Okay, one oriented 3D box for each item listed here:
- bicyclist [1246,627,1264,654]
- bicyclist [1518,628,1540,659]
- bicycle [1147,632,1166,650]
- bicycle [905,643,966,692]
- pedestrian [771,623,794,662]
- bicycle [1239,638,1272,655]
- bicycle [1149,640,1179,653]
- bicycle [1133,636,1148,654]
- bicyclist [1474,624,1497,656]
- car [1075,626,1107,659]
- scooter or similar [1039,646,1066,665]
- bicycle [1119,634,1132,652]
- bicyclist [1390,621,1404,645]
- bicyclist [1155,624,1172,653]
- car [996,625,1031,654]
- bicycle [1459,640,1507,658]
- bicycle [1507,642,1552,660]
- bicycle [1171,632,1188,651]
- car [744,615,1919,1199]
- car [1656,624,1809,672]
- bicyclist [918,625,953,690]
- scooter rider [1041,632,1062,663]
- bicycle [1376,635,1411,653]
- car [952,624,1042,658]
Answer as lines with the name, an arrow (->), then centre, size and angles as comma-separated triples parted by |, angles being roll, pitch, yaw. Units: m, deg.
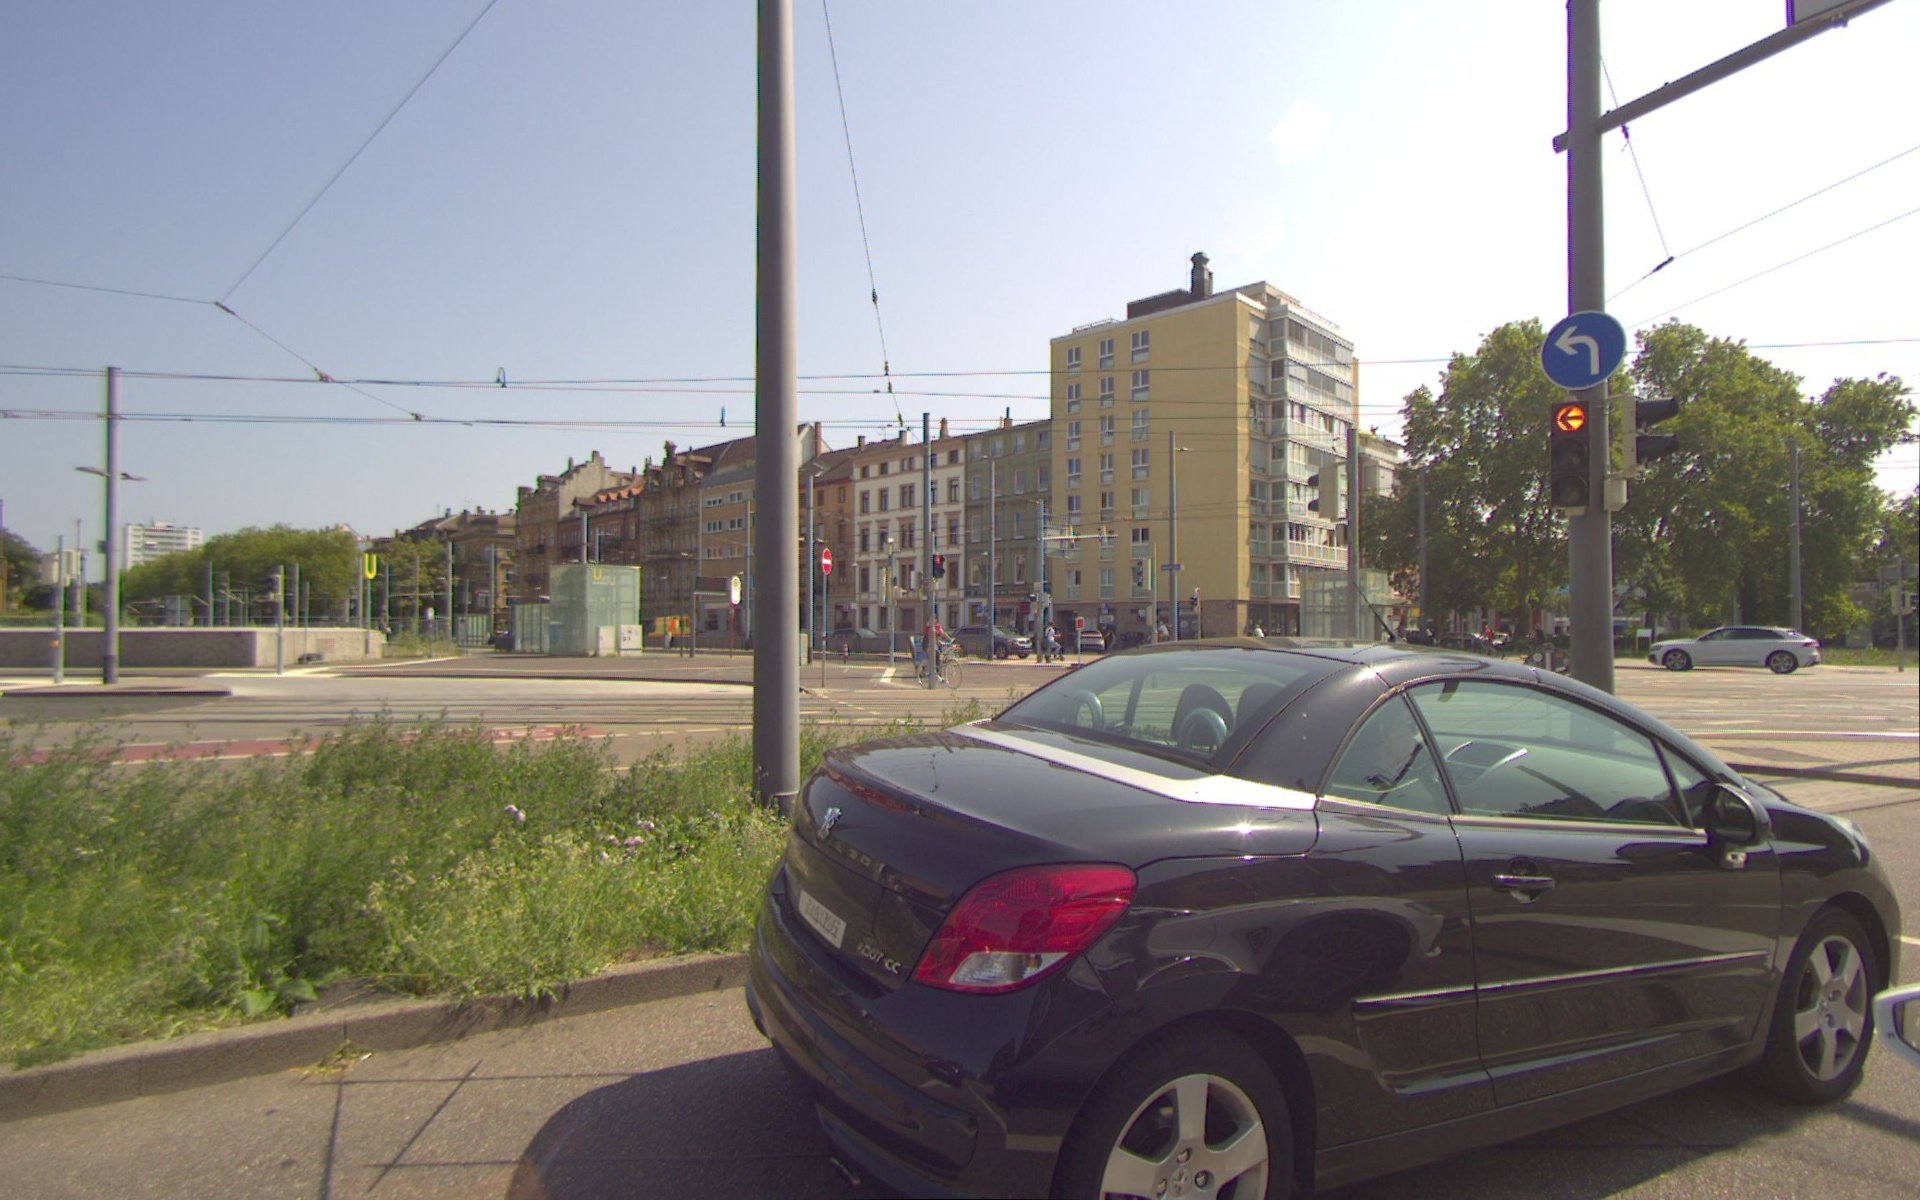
bicyclist -> 17.349, 2.379, 59.042 | 0.897, 1.528, 0.557 | -1, -2, 34
bicyclist -> 27.954, 2.127, 49.356 | 0.861, 1.495, 0.543 | -1, -2, 43
bicycle -> 13.143, 2.730, 67.346 | 0.892, 1.220, 3.265 | 0, -2, 5
bicycle -> -0.604, 1.593, 24.053 | 0.499, 1.108, 1.918 | 1, -2, -35
pedestrian -> -7.297, 1.742, 41.335 | 0.842, 1.563, 0.743 | 0, -2, -4
bicycle -> 17.363, 2.743, 59.016 | 1.789, 0.954, 0.566 | -1, -2, 34
bicycle -> 12.864, 2.937, 63.432 | 0.476, 0.813, 2.030 | 2, -2, -41
bicycle -> 12.238, 3.044, 68.096 | 0.680, 1.220, 3.265 | 0, -2, 5
bicyclist -> 25.563, 1.939, 48.883 | 0.494, 1.502, 0.863 | 2, -2, -42
car -> 8.052, 2.595, 61.544 | 1.767, 1.951, 4.003 | 0, -2, 11
scooter or similar -> 4.053, 2.431, 44.022 | 1.132, 0.835, 0.517 | 1, -2, -35
bicycle -> 11.395, 2.954, 69.236 | 0.680, 1.220, 2.793 | 0, -2, 5
bicyclist -> 24.000, 1.832, 55.150 | 0.555, 1.310, 0.540 | 2, -2, -41
bicyclist -> 12.850, 2.419, 63.401 | 0.494, 1.831, 0.915 | 2, -2, -41
car -> 3.594, 2.637, 66.937 | 1.767, 1.843, 4.003 | 0, -2, 11
bicycle -> 25.494, 2.373, 48.969 | 0.476, 0.813, 2.030 | 2, -2, -41
bicycle -> 27.961, 2.499, 49.339 | 1.836, 0.813, 0.604 | -1, -2, 43
bicycle -> 14.396, 2.701, 65.939 | 0.680, 1.220, 3.265 | 0, -2, 5
car -> 1.351, 0.792, 3.321 | 3.731, 1.406, 1.760 | 1, 0, -26
car -> 27.763, 1.685, 36.193 | 4.273, 1.639, 1.745 | -1, -2, 42
bicyclist -> -0.590, 1.368, 24.156 | 0.632, 1.529, 0.553 | 1, -2, -36
scooter rider -> 4.016, 2.084, 44.131 | 0.602, 1.371, 0.682 | 1, -2, -35
bicycle -> 23.892, 2.404, 55.368 | 0.413, 0.954, 1.798 | 2, -2, -41
car -> 1.798, 1.981, 49.377 | 1.759, 1.621, 4.484 | 2, -2, -44
